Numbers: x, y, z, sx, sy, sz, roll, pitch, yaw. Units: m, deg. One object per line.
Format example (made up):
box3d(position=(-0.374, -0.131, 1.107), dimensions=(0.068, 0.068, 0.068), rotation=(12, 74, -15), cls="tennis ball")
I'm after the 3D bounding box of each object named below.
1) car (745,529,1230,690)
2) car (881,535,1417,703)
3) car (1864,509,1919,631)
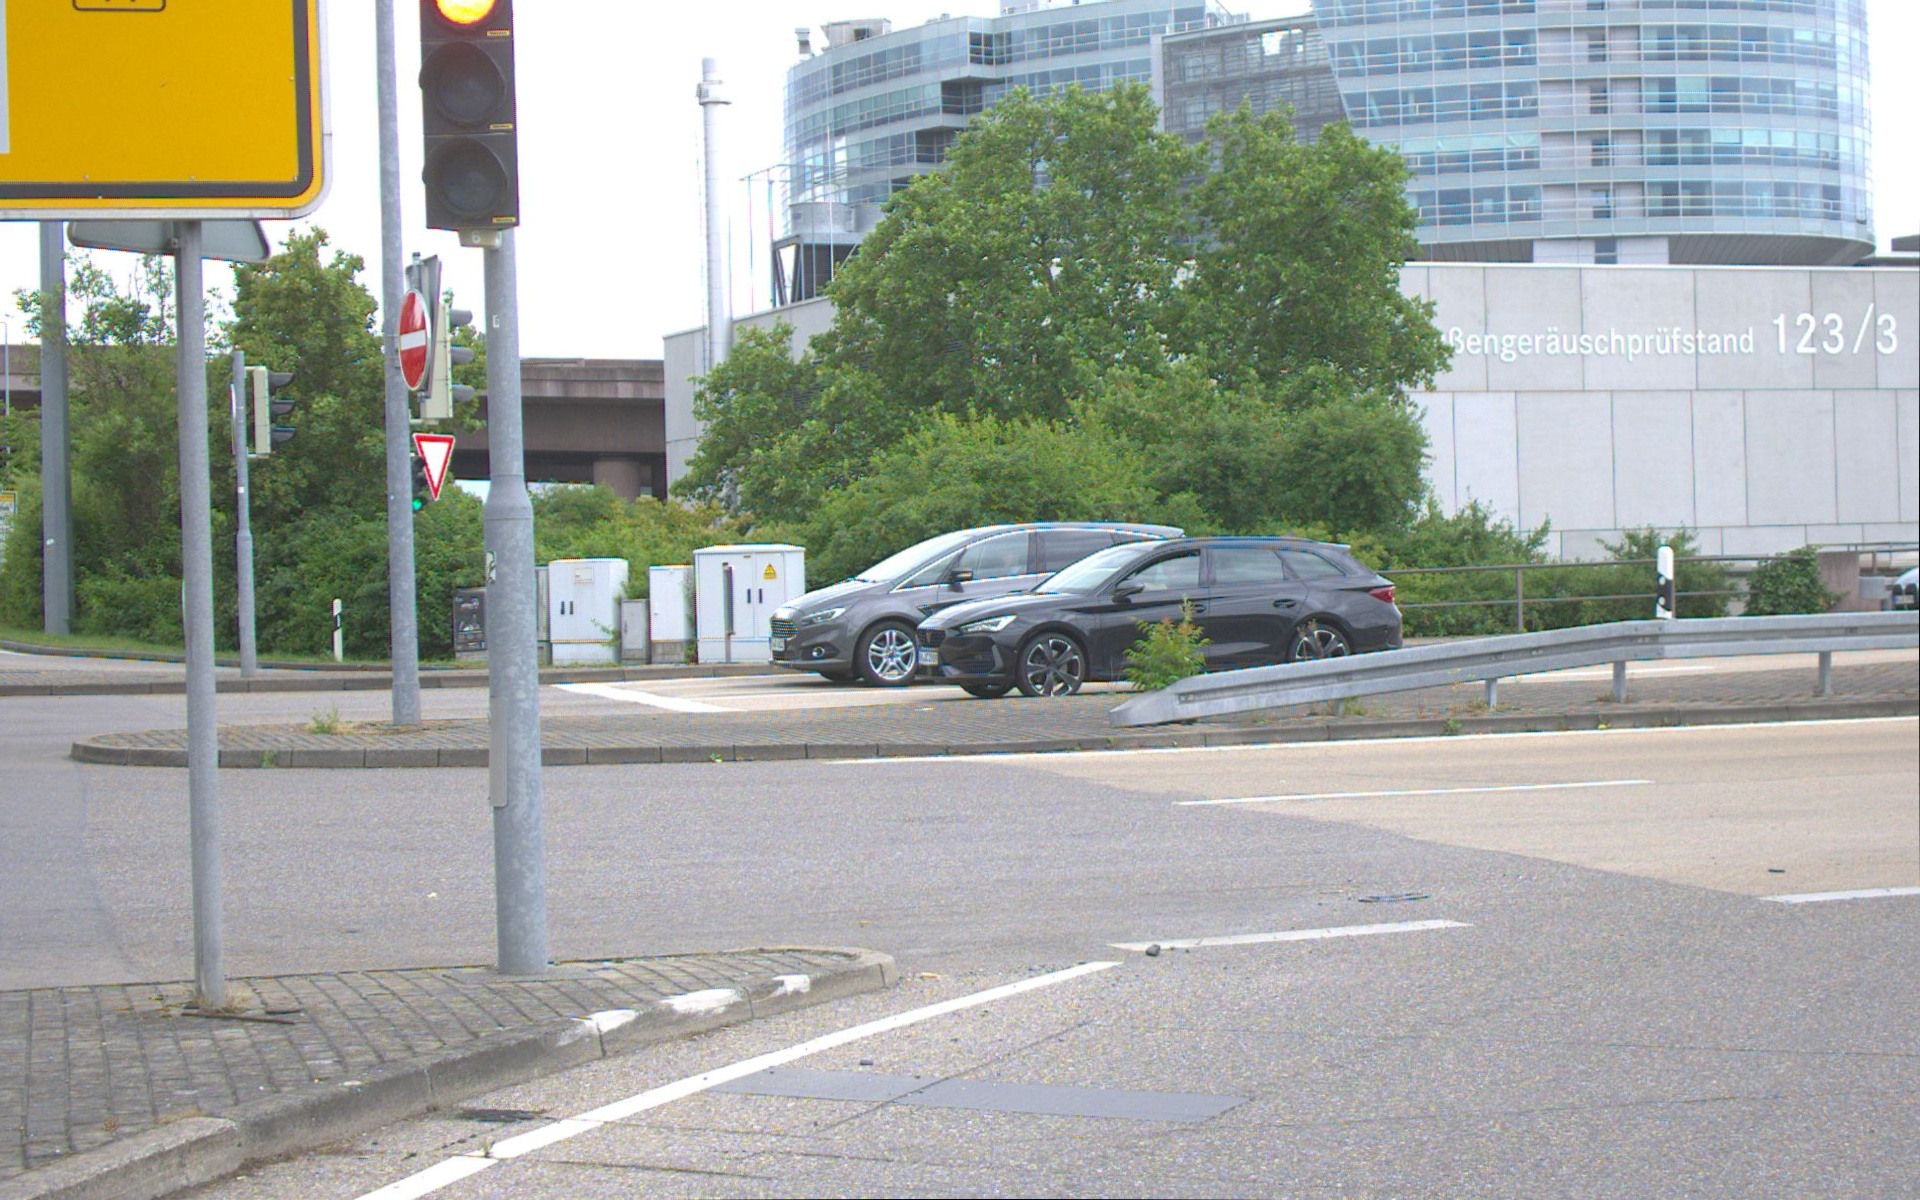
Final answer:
box3d(position=(0.272, 0.062, 35.857), dimensions=(4.677, 1.566, 1.956), rotation=(0, 2, -18), cls="car")
box3d(position=(1.749, 0.137, 32.110), dimensions=(4.604, 1.452, 1.956), rotation=(-1, 2, -19), cls="car")
box3d(position=(15.272, -0.319, 47.998), dimensions=(4.730, 1.656, 1.916), rotation=(3, 1, -15), cls="car")
